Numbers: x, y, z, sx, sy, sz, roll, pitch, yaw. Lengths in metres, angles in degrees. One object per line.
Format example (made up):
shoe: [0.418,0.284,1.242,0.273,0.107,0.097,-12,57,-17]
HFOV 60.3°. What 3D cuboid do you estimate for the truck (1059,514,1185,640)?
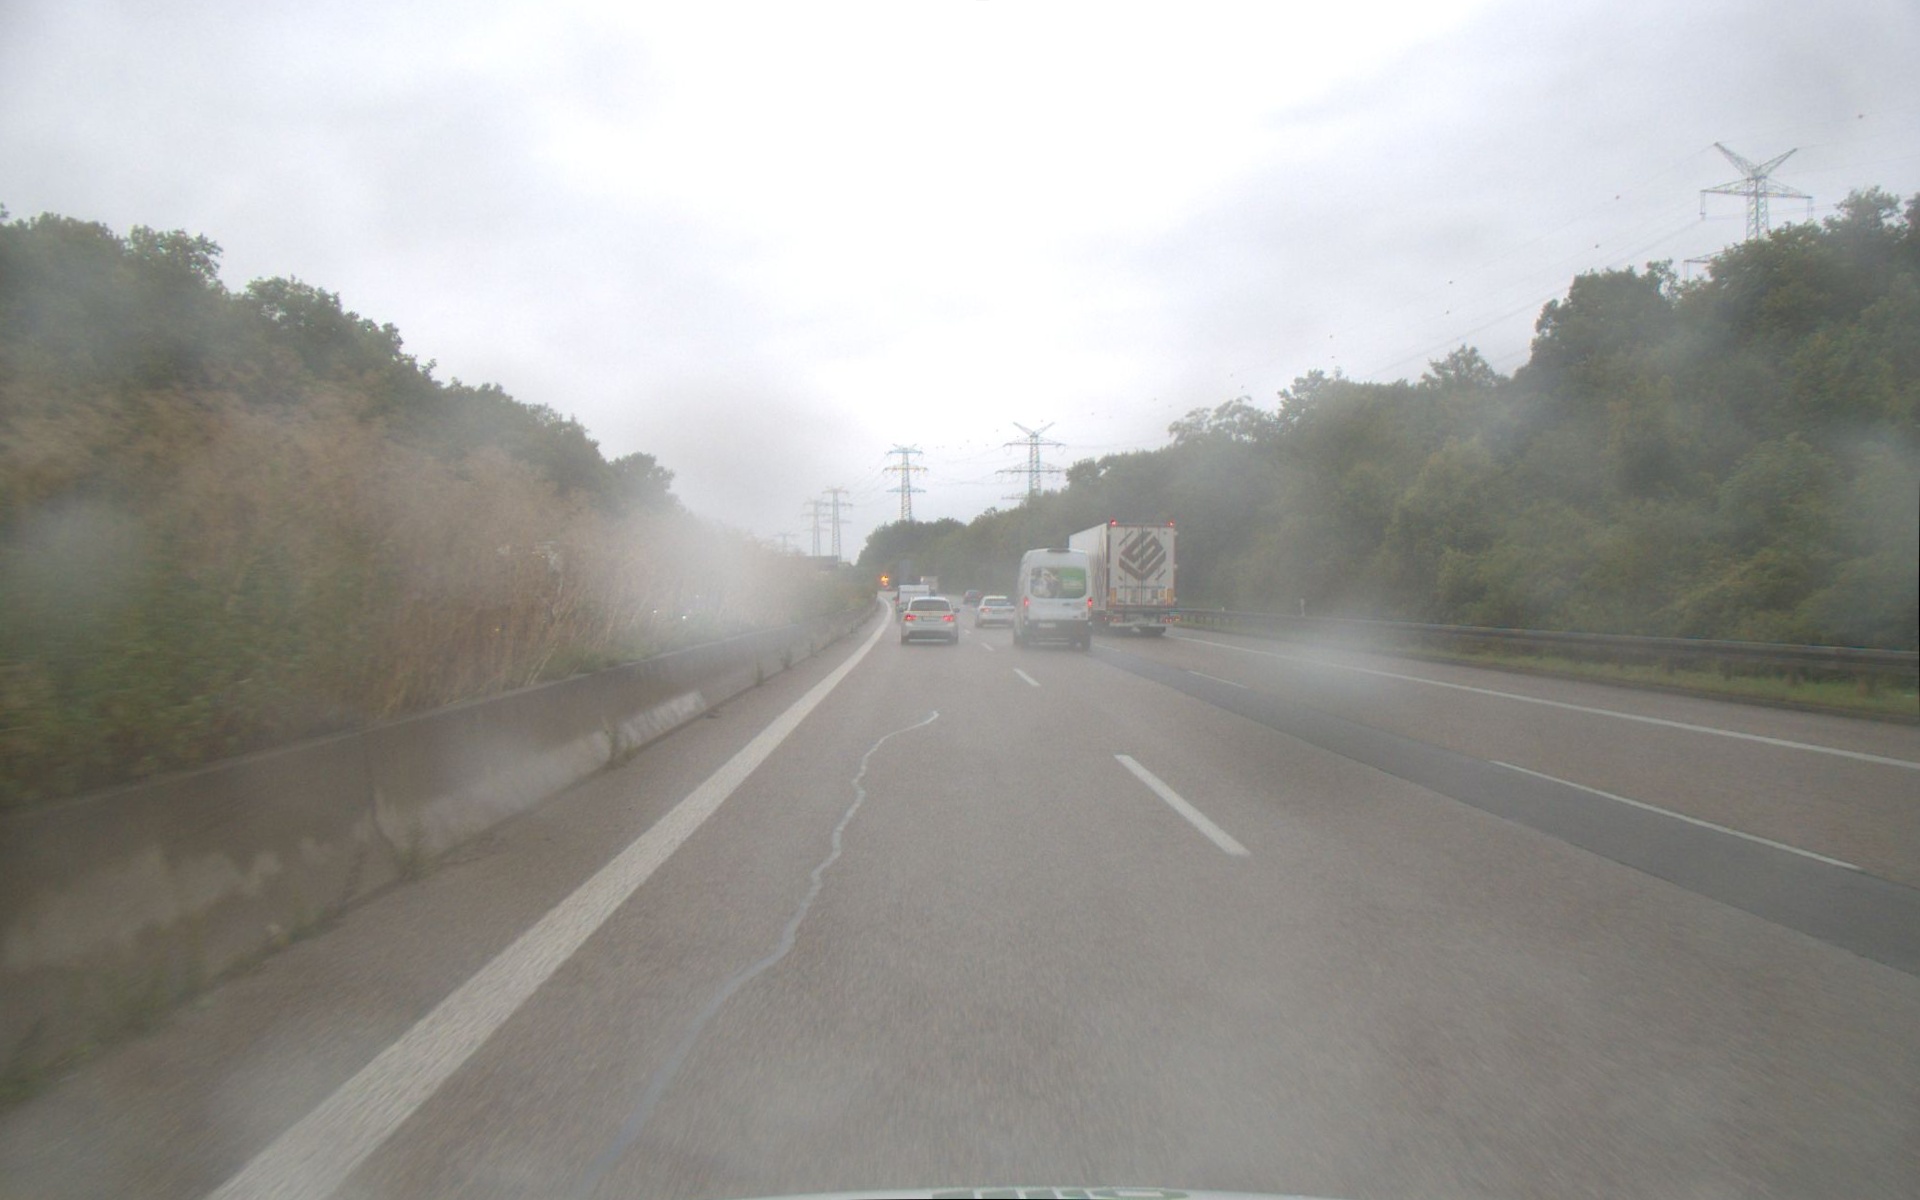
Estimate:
truck: [6.107,-0.792,65.051,3.530,4.408,13.197,-1,0,0]

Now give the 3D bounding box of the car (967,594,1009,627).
car: [1.274,0.460,73.976,1.818,1.447,4.001,0,0,2]

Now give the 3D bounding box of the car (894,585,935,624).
car: [-2.231,0.213,81.651,1.808,1.803,4.000,-1,0,1]

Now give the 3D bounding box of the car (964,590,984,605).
car: [1.465,-0.259,173.426,1.953,1.512,4.000,-3,0,0]

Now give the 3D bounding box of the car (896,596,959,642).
car: [-0.993,0.565,50.823,1.828,1.310,3.999,-1,0,-1]

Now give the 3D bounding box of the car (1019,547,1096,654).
car: [2.754,0.004,47.586,1.953,2.914,4.000,-1,0,0]

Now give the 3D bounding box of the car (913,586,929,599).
car: [-5.210,-0.949,220.271,1.952,1.601,4.000,-2,-1,1]
